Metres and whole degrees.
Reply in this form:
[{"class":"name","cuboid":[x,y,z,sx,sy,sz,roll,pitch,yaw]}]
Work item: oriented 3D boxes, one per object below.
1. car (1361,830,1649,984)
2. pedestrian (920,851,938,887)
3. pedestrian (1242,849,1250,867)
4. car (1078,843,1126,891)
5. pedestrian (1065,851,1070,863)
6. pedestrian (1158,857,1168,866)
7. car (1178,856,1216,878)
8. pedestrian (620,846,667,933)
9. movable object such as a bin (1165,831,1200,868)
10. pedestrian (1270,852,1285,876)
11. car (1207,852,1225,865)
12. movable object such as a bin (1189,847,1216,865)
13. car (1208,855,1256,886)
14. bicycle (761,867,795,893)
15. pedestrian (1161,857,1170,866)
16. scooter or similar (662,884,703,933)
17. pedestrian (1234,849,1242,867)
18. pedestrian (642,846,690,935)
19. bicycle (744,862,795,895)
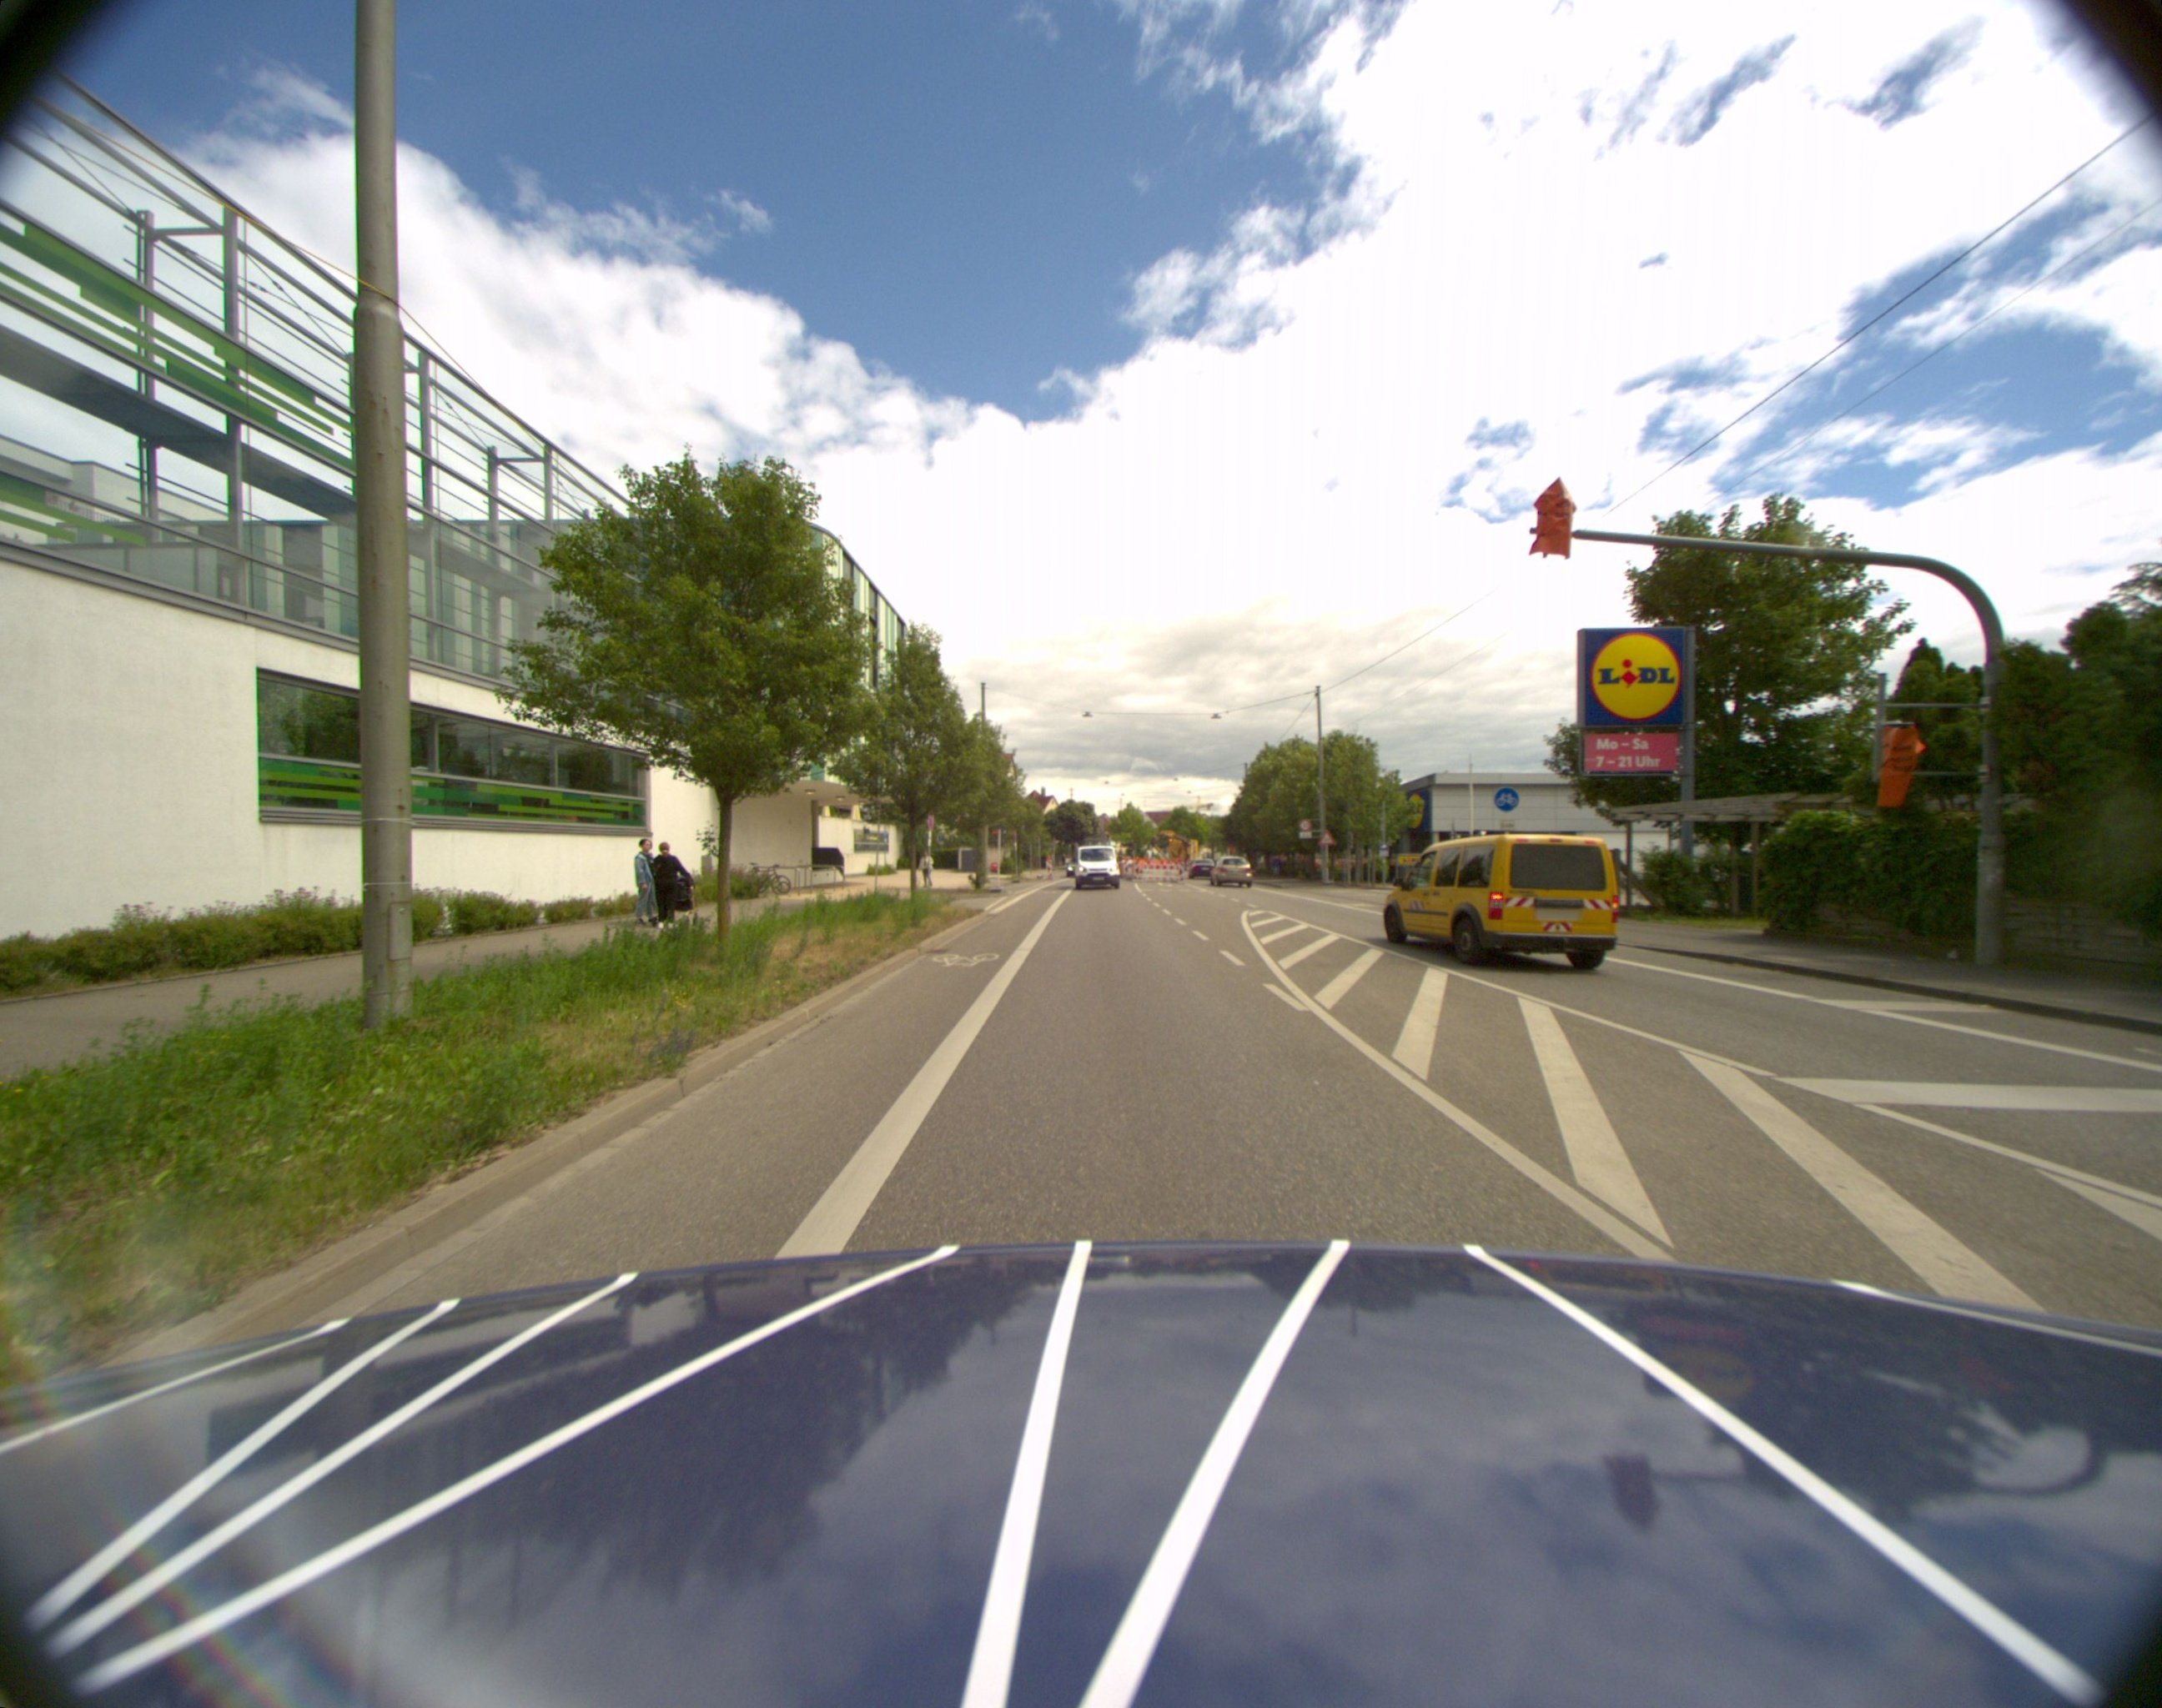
[{"class":"car","cuboid":[6.105,0.650,11.744,1.846,1.893,4.685,1,0,1]},{"class":"pedestrian","cuboid":[-6.611,0.635,33.128,0.582,1.542,0.869,1,1,1]},{"class":"pedestrian","cuboid":[16.822,0.398,77.567,0.625,1.836,0.624,1,1,29]},{"class":"car","cuboid":[0.880,0.559,35.141,1.999,2.002,5.512,-1,0,0]},{"class":"pedestrian","cuboid":[-1.581,0.354,90.534,0.522,1.531,0.636,1,1,-5]},{"class":"pedestrian","cuboid":[9.271,0.828,85.787,0.791,0.985,0.813,1,1,29]},{"class":"car","cuboid":[8.233,0.893,54.195,1.998,1.391,4.811,2,0,1]},{"class":"pedestrian","cuboid":[-8.462,0.675,14.722,0.551,1.645,0.607,1,1,1]},{"class":"movable object such as a bin","cuboid":[12.351,-0.509,91.403,2.594,4.197,11.134,1,0,15]},{"class":"pedestrian","cuboid":[13.088,0.641,50.563,0.754,1.593,0.829,0,1,-1]},{"class":"car","cuboid":[16.713,0.562,94.353,1.858,1.504,4.001,1,0,5]},{"class":"movable object such as a bin","cuboid":[18.648,0.306,116.323,1.994,2.610,6.535,1,0,29]},{"class":"car","cuboid":[7.966,0.826,40.443,1.754,1.546,4.402,1,0,1]},{"class":"bicycle","cuboid":[-10.160,0.871,25.485,1.027,0.837,0.306,1,1,-32]},{"class":"pedestrian","cuboid":[9.394,0.843,84.752,0.641,0.985,0.795,1,1,39]},{"class":"scooter or similar","cuboid":[-7.743,1.050,14.776,0.422,0.900,0.682,1,1,1]},{"class":"pedestrian","cuboid":[16.235,0.428,78.599,0.695,1.836,0.624,1,1,29]},{"class":"pedestrian","cuboid":[-7.804,0.676,14.301,0.606,1.645,0.552,1,1,1]},{"class":"bicycle","cuboid":[-9.985,0.775,24.402,1.470,1.039,0.307,1,1,-11]}]
